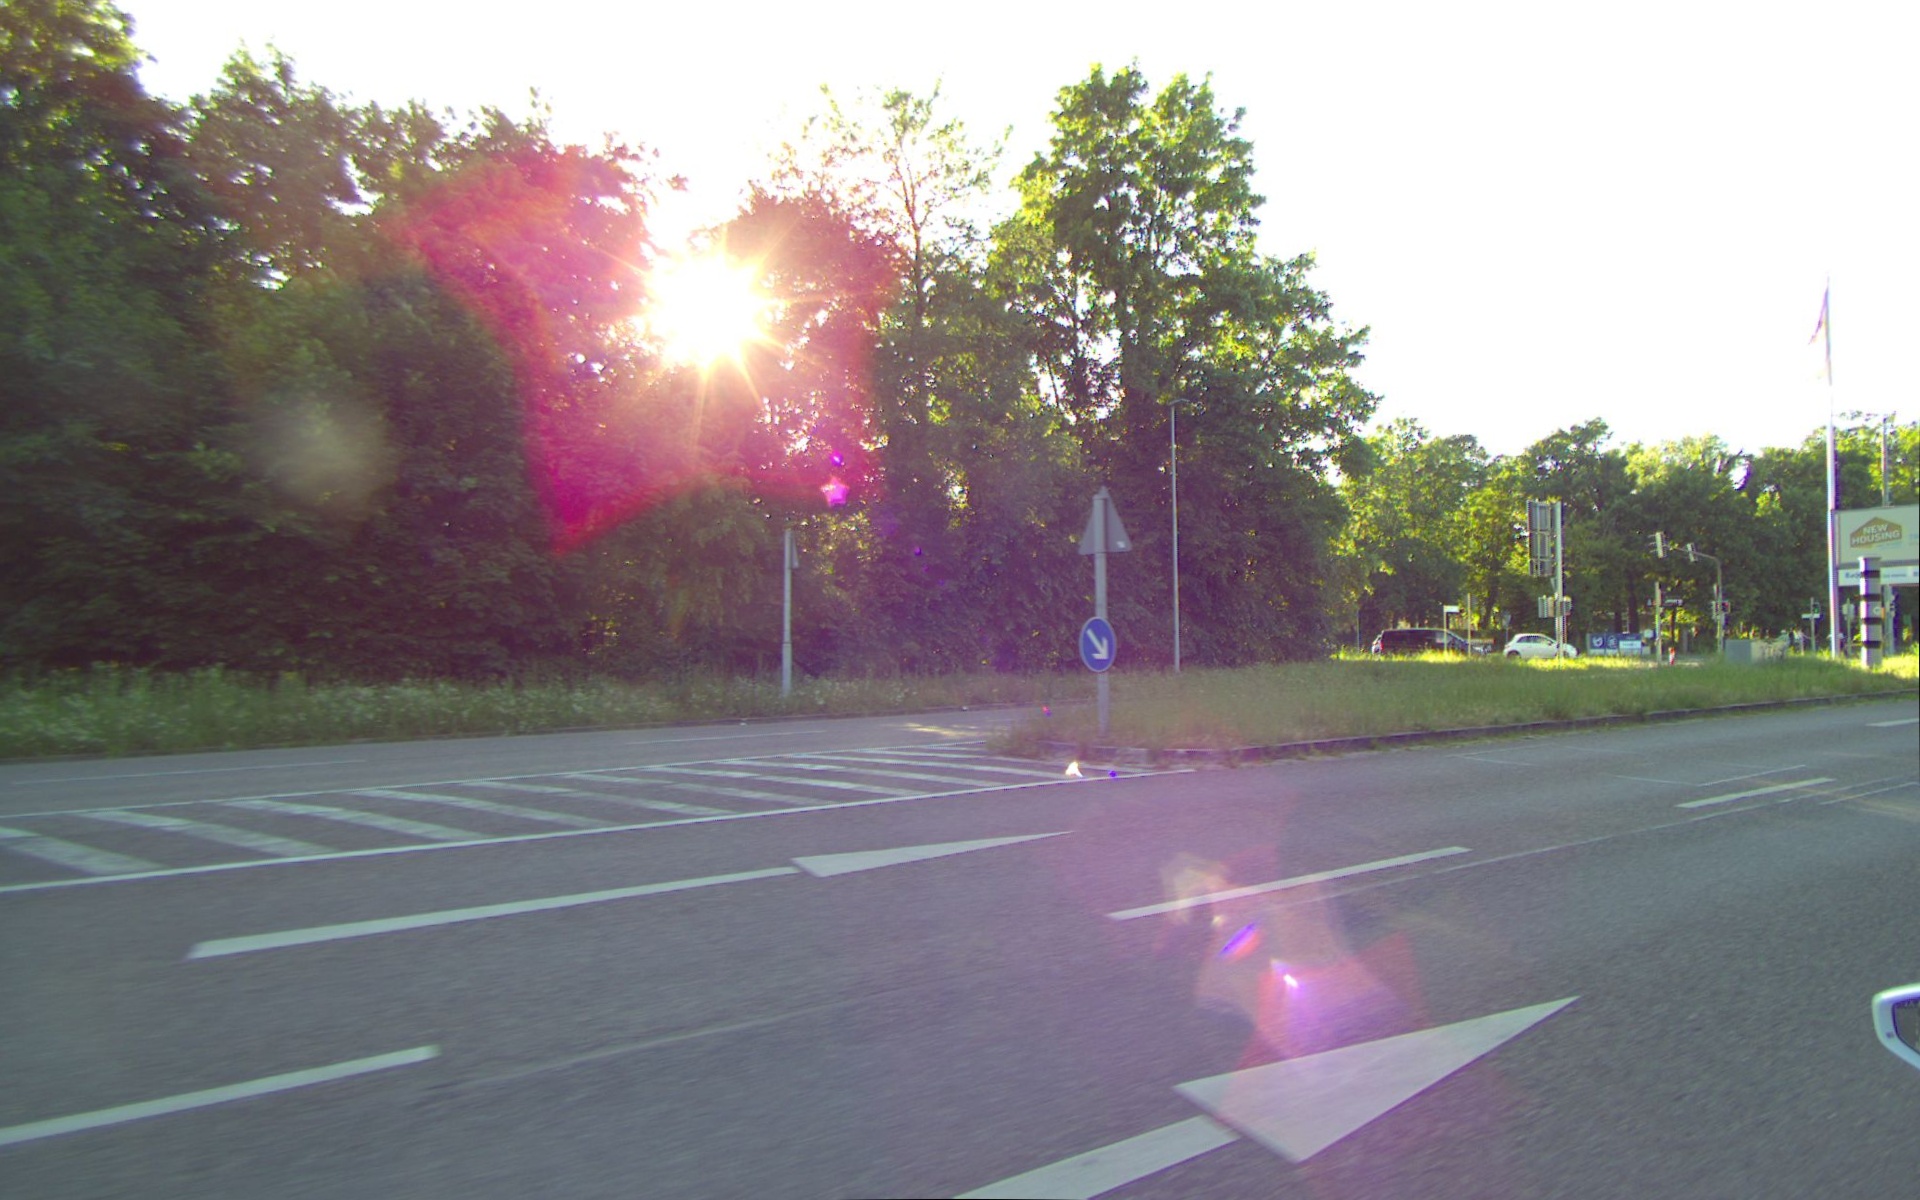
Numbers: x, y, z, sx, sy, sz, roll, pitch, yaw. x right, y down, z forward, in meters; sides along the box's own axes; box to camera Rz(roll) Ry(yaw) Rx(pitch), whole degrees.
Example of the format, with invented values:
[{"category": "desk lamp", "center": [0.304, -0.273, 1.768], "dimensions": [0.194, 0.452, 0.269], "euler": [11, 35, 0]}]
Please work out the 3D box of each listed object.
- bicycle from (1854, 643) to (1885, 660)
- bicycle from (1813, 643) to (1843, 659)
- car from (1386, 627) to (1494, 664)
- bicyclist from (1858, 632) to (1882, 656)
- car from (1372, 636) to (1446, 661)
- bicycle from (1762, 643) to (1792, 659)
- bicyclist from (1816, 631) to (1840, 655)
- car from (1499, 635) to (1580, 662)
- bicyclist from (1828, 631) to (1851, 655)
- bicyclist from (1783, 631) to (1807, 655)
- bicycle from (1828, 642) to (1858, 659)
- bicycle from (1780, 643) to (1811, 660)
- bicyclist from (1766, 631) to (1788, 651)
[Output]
[{"category": "bicycle", "center": [50.851, 2.857, 56.163], "dimensions": [1.887, 0.926, 0.712], "euler": [1, -2, -29]}, {"category": "bicycle", "center": [49.956, 2.922, 57.809], "dimensions": [1.887, 0.926, 0.712], "euler": [1, -2, -29]}, {"category": "car", "center": [24.794, 2.342, 51.944], "dimensions": [4.850, 1.854, 1.923], "euler": [-1, -2, 33]}, {"category": "bicyclist", "center": [50.902, 2.459, 56.200], "dimensions": [0.978, 1.356, 0.712], "euler": [1, -2, -29]}, {"category": "car", "center": [26.372, 2.815, 59.058], "dimensions": [3.735, 1.407, 1.849], "euler": [-1, -2, 33]}, {"category": "bicycle", "center": [48.218, 3.009, 59.256], "dimensions": [1.887, 0.926, 0.712], "euler": [0, -2, -29]}, {"category": "bicyclist", "center": [49.952, 2.482, 57.818], "dimensions": [0.978, 1.373, 0.712], "euler": [1, -2, -29]}, {"category": "car", "center": [31.825, 2.634, 55.198], "dimensions": [3.735, 1.407, 1.923], "euler": [-1, -2, 33]}, {"category": "bicyclist", "center": [51.344, 2.497, 58.644], "dimensions": [0.978, 1.360, 0.712], "euler": [1, -2, -29]}, {"category": "bicyclist", "center": [48.584, 2.498, 58.439], "dimensions": [0.978, 1.408, 0.707], "euler": [1, -2, -29]}, {"category": "bicycle", "center": [51.741, 2.950, 58.853], "dimensions": [1.887, 0.926, 0.712], "euler": [1, -2, -29]}, {"category": "bicycle", "center": [48.617, 2.987, 58.439], "dimensions": [1.887, 0.926, 0.712], "euler": [1, -2, -29]}, {"category": "bicyclist", "center": [48.216, 2.409, 59.274], "dimensions": [0.978, 1.208, 0.712], "euler": [1, -2, -29]}]
